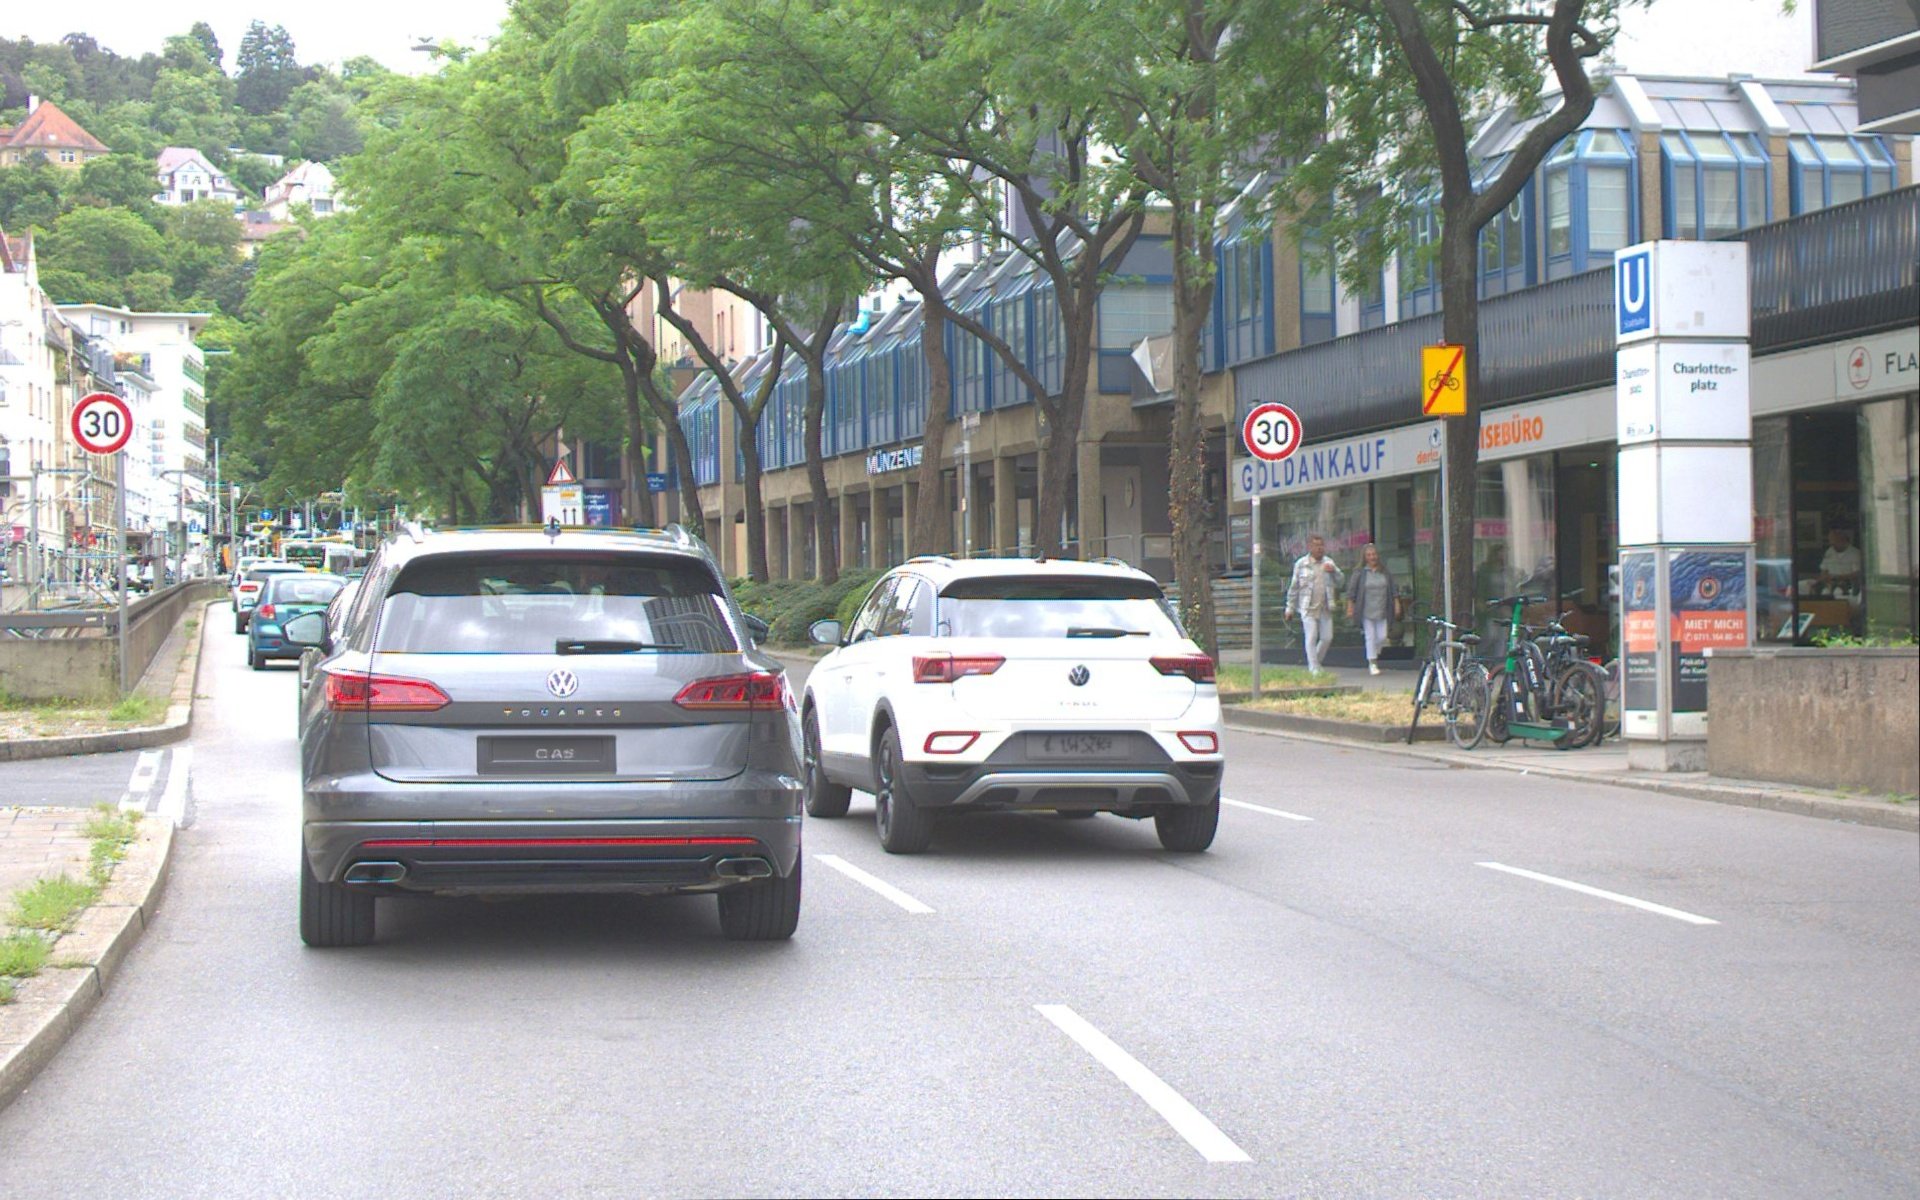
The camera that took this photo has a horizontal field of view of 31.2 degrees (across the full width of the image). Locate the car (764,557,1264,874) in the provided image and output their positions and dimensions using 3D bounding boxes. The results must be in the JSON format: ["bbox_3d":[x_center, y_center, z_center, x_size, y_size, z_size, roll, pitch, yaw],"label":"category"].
[{"bbox_3d":[0.180,0.565,19.205,1.797,1.540,3.937,1,1,-14],"label":"car"}]

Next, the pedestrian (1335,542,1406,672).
[{"bbox_3d":[5.204,0.082,43.593,0.595,1.623,0.758,-1,1,-18],"label":"pedestrian"}]

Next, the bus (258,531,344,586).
[{"bbox_3d":[-44.556,-2.820,232.878,3.849,3.520,17.248,-1,1,-5],"label":"bus"}]

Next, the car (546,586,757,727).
[{"bbox_3d":[-3.627,0.611,39.776,1.833,1.427,4.149,0,2,-14],"label":"car"}]

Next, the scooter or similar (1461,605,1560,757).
[{"bbox_3d":[4.625,0.669,28.936,0.305,1.247,0.997,-1,0,-25],"label":"scooter or similar"}]

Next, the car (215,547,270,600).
[{"bbox_3d":[-25.962,-0.959,124.517,1.831,1.868,4.872,-2,1,-11],"label":"car"}]

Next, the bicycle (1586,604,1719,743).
[{"bbox_3d":[5.900,0.608,29.374,0.489,1.129,1.689,-1,0,-12],"label":"bicycle"}]

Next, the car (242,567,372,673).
[{"bbox_3d":[-9.976,0.280,52.374,1.831,1.512,3.768,-2,1,-12],"label":"car"}]

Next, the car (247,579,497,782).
[{"bbox_3d":[-4.670,0.585,27.612,1.833,1.390,4.149,0,2,-8],"label":"car"}]

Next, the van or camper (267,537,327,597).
[{"bbox_3d":[-36.010,-1.798,186.638,2.627,3.168,5.805,-1,1,-16],"label":"van or camper"}]

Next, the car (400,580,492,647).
[{"bbox_3d":[-11.109,0.278,74.450,1.831,1.358,3.768,-2,1,-7],"label":"car"}]

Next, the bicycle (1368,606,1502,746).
[{"bbox_3d":[4.022,0.630,29.239,0.489,1.129,1.844,-1,1,-13],"label":"bicycle"}]

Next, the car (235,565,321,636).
[{"bbox_3d":[-15.937,0.000,80.207,1.831,1.561,3.768,-2,1,-12],"label":"car"}]

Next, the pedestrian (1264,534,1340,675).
[{"bbox_3d":[4.311,0.050,43.325,0.595,1.748,0.941,-1,1,-18],"label":"pedestrian"}]

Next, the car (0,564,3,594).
[{"bbox_3d":[-56.676,-1.212,199.491,1.993,1.762,4.282,-1,1,-12],"label":"car"}]

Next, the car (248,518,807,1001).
[{"bbox_3d":[-1.852,0.543,14.622,1.970,1.690,4.225,-2,1,-8],"label":"car"}]

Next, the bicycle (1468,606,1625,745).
[{"bbox_3d":[4.993,0.623,29.360,0.489,1.129,1.888,-1,1,-18],"label":"bicycle"}]
